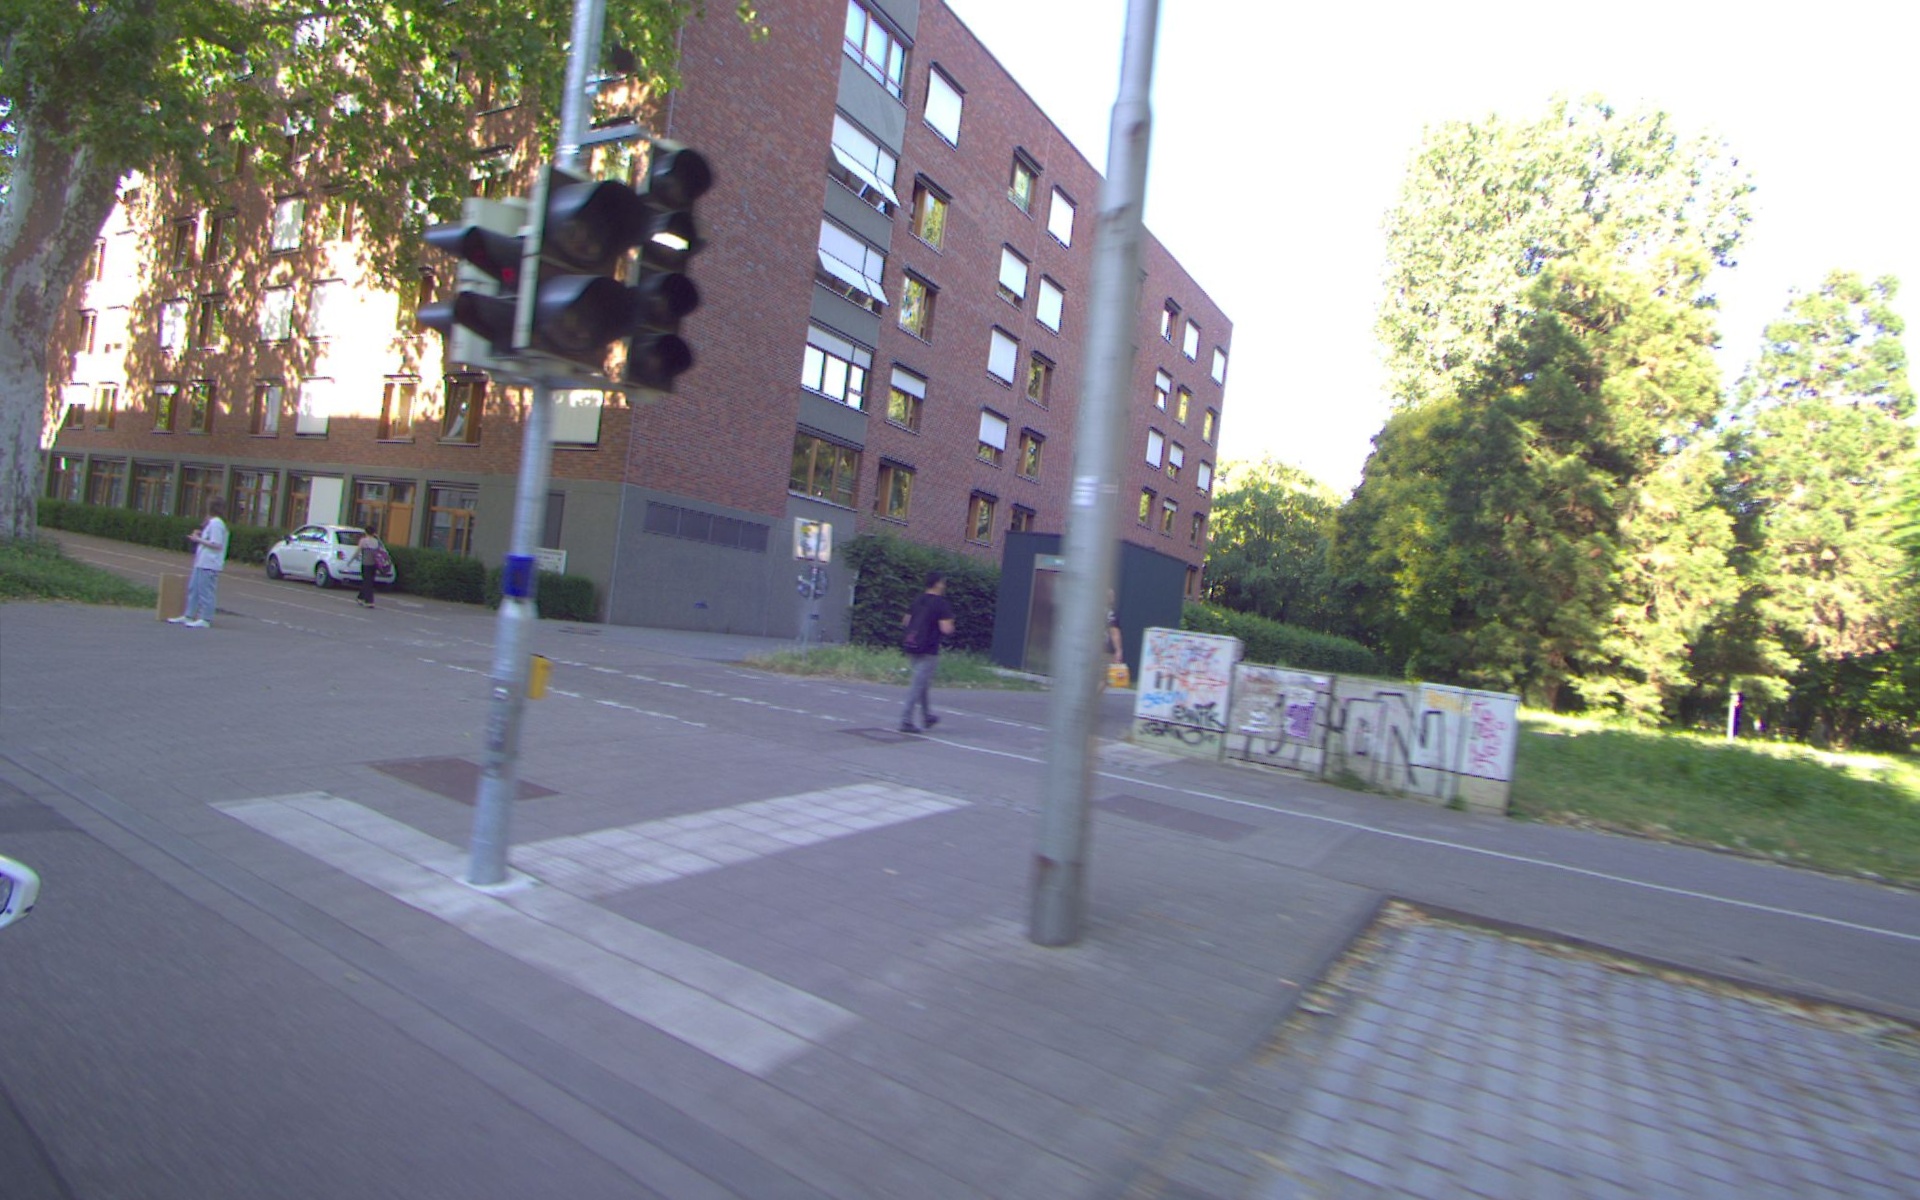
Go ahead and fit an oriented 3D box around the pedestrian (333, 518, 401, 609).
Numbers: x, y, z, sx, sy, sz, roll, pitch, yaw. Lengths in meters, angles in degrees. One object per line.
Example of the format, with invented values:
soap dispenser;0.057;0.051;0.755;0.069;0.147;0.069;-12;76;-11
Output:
pedestrian;-11.855;-0.723;20.118;0.821;1.689;0.736;8;1;32

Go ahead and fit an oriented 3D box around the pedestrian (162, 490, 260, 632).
pedestrian;-9.557;-0.495;12.841;0.726;1.689;0.653;8;1;32

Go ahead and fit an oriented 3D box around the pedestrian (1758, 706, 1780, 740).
pedestrian;42.712;6.485;53.129;0.639;1.682;0.648;8;1;32

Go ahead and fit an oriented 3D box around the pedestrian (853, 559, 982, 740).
pedestrian;-0.461;0.546;11.221;0.849;1.834;0.996;8;1;27

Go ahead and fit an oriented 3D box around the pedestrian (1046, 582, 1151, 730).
pedestrian;1.950;0.755;14.074;0.998;1.890;0.983;8;4;27

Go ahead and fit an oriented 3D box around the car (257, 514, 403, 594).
car;-15.495;-1.147;24.726;3.360;1.513;1.603;7;0;31
